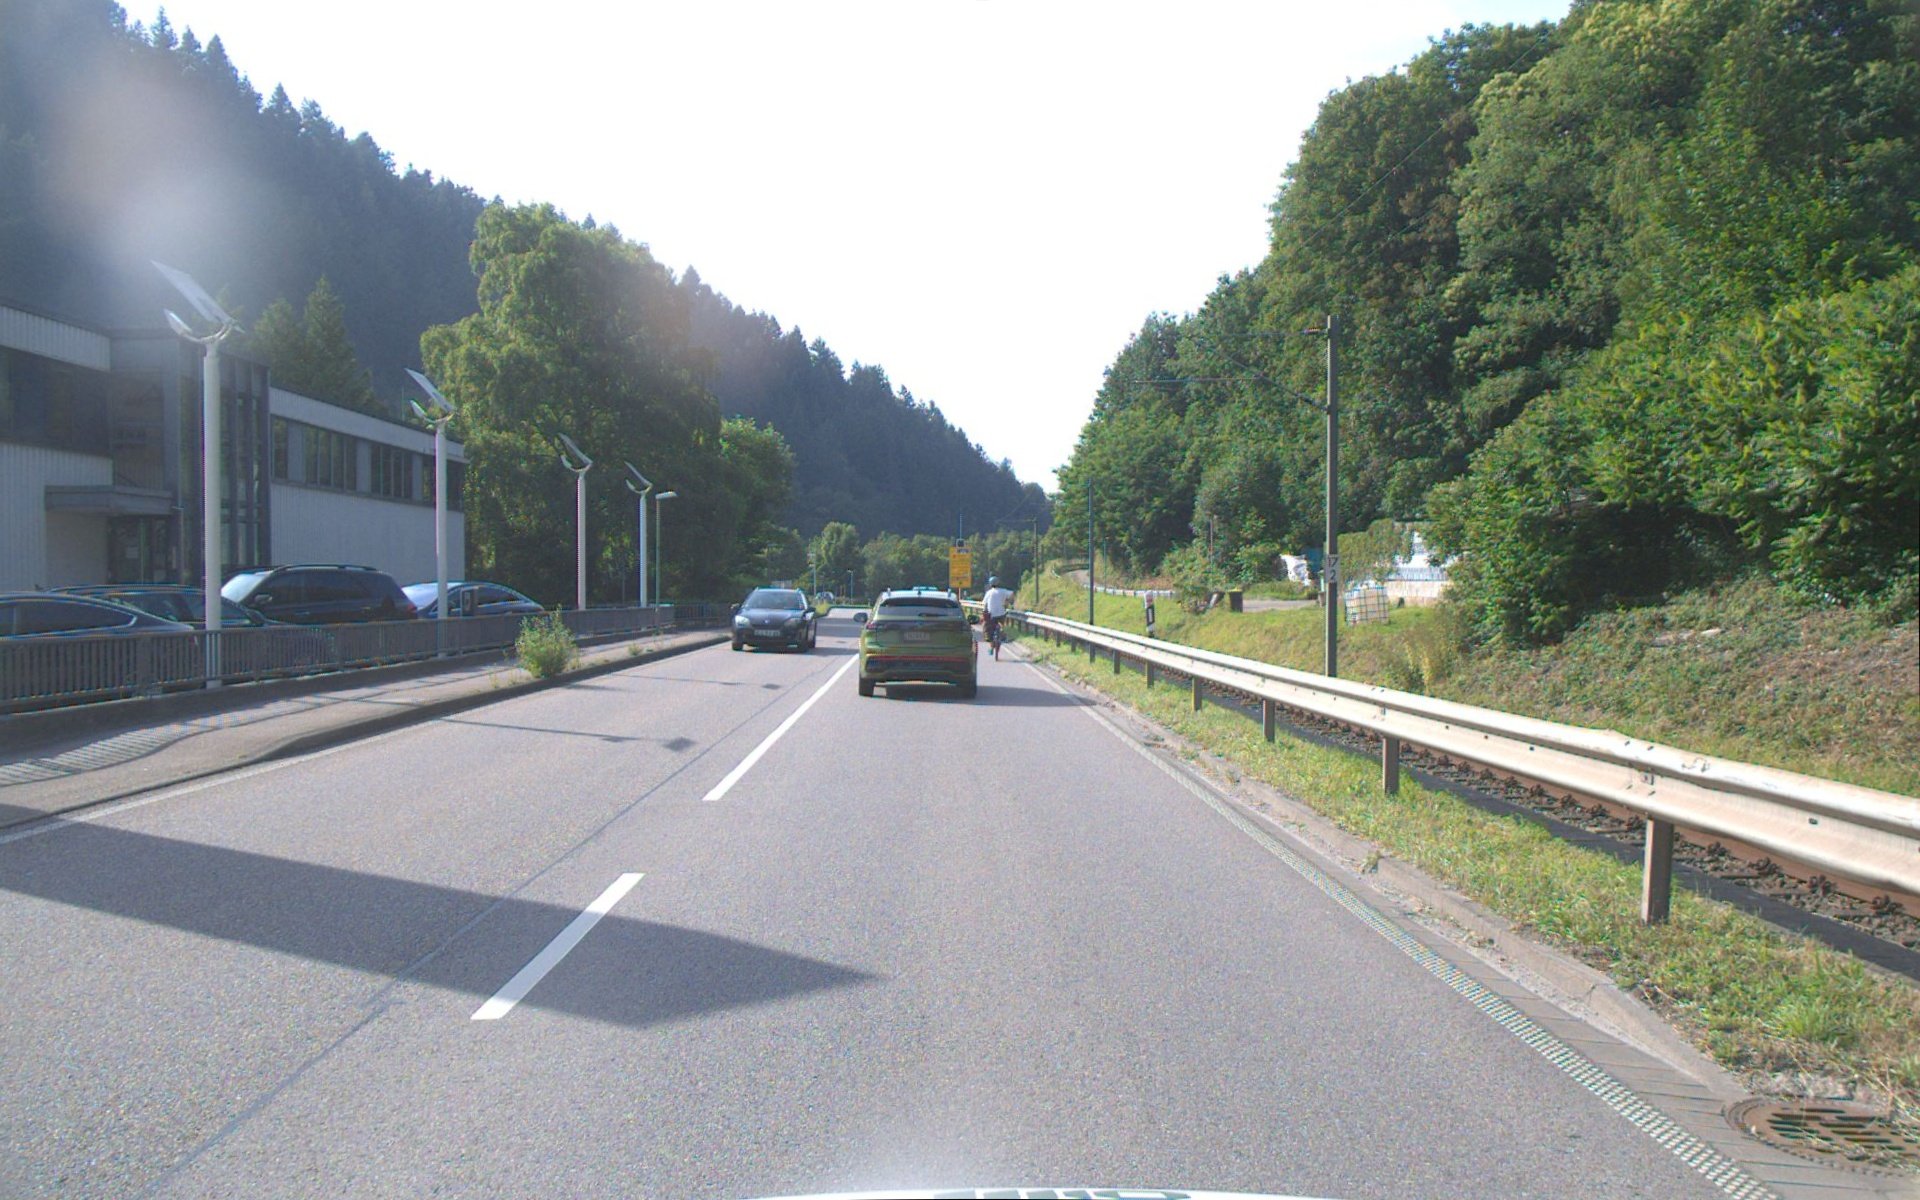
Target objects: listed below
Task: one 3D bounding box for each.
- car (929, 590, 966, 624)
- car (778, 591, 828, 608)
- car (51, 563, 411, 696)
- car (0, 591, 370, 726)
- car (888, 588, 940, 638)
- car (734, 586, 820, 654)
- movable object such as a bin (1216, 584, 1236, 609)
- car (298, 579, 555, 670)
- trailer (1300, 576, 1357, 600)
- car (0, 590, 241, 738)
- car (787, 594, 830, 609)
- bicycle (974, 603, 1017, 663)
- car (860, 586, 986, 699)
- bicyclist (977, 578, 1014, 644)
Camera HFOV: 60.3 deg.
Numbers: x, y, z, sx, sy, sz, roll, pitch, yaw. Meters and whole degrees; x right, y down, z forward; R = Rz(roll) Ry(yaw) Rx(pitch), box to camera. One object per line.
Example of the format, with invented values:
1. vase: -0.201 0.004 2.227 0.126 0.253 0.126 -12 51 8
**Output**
1. car: -0.642 0.310 82.552 1.704 1.630 3.998 1 0 -2
2. car: -13.588 -0.052 143.162 4.172 1.458 1.556 0 0 -1
3. car: -10.778 0.354 24.823 1.957 1.772 4.680 0 1 31
4. car: -9.841 0.634 20.727 1.674 1.464 4.727 0 0 28
5. car: -1.613 0.419 57.390 1.704 1.630 3.998 1 0 -2
6. car: -4.367 0.449 39.996 1.643 1.511 4.245 2 0 -2
7. movable object such as a bin: 12.049 -0.156 74.893 0.837 1.127 0.935 0 0 4
8. car: -10.039 0.449 31.584 1.953 1.589 4.851 0 0 23
9. trailer: 19.753 -0.632 88.771 2.025 1.213 3.712 1 0 -3
10. car: -9.738 0.614 16.468 1.674 1.399 4.727 0 0 28
11. car: -14.988 0.185 163.874 4.172 1.458 1.556 0 0 -1
12. bicycle: 0.769 0.700 36.355 0.795 1.272 2.121 0 0 -3
13. car: -0.580 0.571 24.665 1.704 1.534 3.998 1 0 -2
14. bicyclist: 0.773 0.245 36.426 0.766 1.436 0.674 0 0 -3
